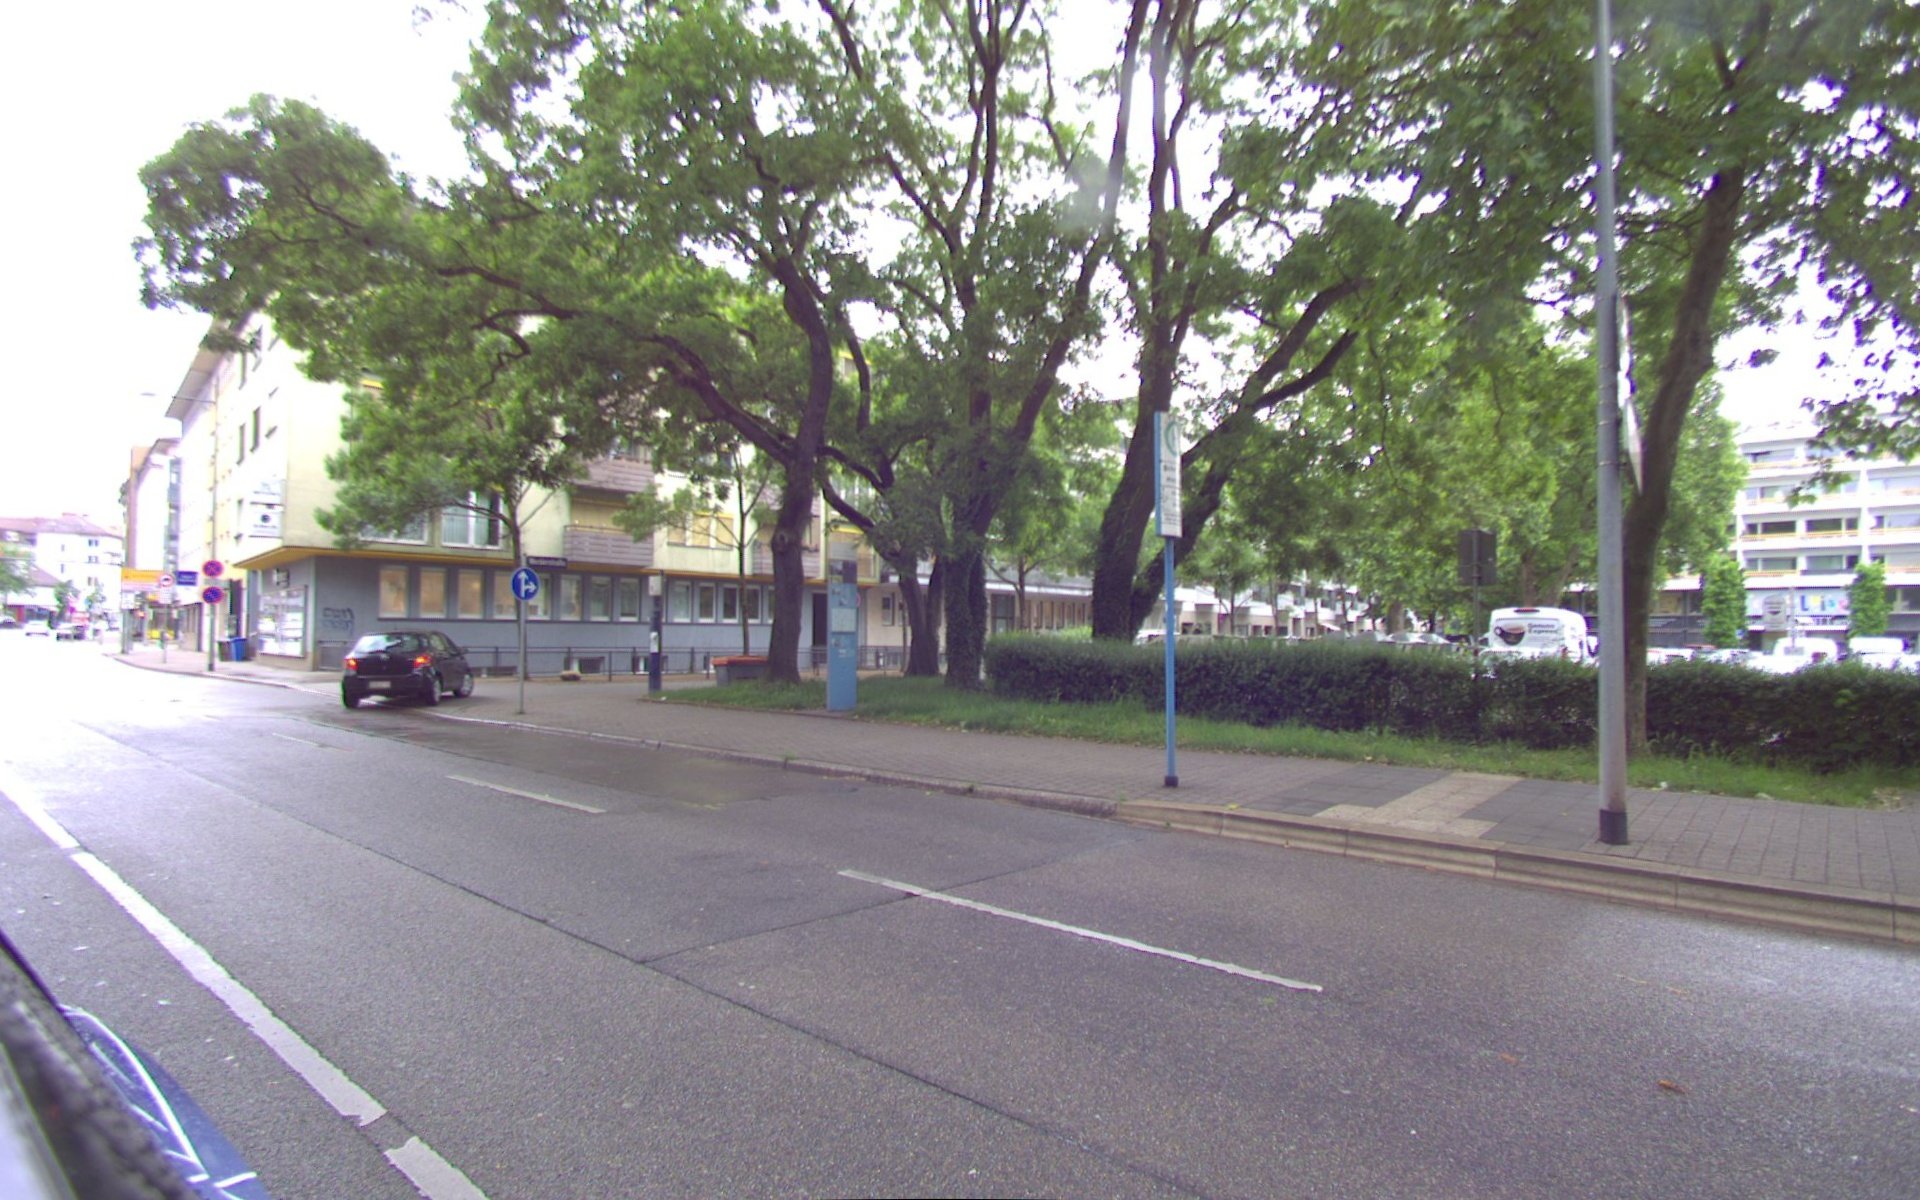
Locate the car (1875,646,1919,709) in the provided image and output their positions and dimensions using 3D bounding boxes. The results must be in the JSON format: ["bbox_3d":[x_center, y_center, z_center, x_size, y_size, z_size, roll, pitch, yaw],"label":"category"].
[{"bbox_3d":[23.426,1.878,24.799,1.391,1.446,3.227,-2,-4,41],"label":"car"}]

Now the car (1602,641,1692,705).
[{"bbox_3d":[16.743,1.744,24.614,1.391,1.446,3.227,-2,-4,41],"label":"car"}]

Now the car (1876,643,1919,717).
[{"bbox_3d":[19.939,1.634,20.937,1.391,1.446,3.227,-2,-4,41],"label":"car"}]

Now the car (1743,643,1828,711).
[{"bbox_3d":[19.247,1.760,23.557,1.391,1.446,3.227,-2,-4,41],"label":"car"}]

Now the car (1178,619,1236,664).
[{"bbox_3d":[11.715,1.960,47.847,1.988,2.029,3.967,0,-3,24],"label":"car"}]

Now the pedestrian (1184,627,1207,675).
[{"bbox_3d":[6.117,1.318,26.274,0.483,1.222,0.434,-1,0,29],"label":"pedestrian"}]

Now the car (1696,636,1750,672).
[{"bbox_3d":[35.730,2.482,47.356,1.837,1.435,3.780,-1,0,39],"label":"car"}]

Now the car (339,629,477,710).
[{"bbox_3d":[-11.263,1.400,20.891,1.546,1.500,3.576,2,-3,-13],"label":"car"}]

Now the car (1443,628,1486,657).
[{"bbox_3d":[27.242,2.289,54.634,1.428,1.439,2.926,-2,-1,40],"label":"car"}]

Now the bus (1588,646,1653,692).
[{"bbox_3d":[24.166,2.491,36.966,1.604,1.551,3.385,-1,-3,40],"label":"bus"}]

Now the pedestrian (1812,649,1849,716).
[{"bbox_3d":[16.463,1.552,19.143,0.465,1.222,0.433,-1,0,34],"label":"pedestrian"}]

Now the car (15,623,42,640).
[{"bbox_3d":[-96.714,3.300,105.029,4.002,1.670,1.842,-2,-4,45],"label":"car"}]

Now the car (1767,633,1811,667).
[{"bbox_3d":[41.995,2.499,51.294,1.639,1.536,3.161,-1,0,38],"label":"car"}]

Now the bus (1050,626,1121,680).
[{"bbox_3d":[4.847,2.018,38.678,1.703,1.939,3.697,0,-3,24],"label":"bus"}]

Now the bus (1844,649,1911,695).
[{"bbox_3d":[33.167,2.572,36.650,1.604,1.551,3.385,-1,-3,40],"label":"bus"}]

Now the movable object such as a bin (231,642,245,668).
[{"bbox_3d":[-29.870,2.278,41.887,0.409,1.037,0.354,3,-4,-42],"label":"movable object such as a bin"}]

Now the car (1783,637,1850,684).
[{"bbox_3d":[28.184,1.962,33.345,1.604,1.439,3.275,-1,-3,40],"label":"car"}]

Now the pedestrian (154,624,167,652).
[{"bbox_3d":[-54.179,2.584,68.568,0.586,1.858,0.565,3,-4,-42],"label":"pedestrian"}]

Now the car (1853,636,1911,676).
[{"bbox_3d":[40.332,2.422,44.321,1.639,1.536,3.161,-1,0,38],"label":"car"}]

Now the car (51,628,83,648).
[{"bbox_3d":[-82.208,3.495,93.157,4.002,1.730,1.863,-2,-4,45],"label":"car"}]

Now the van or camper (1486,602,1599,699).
[{"bbox_3d":[16.856,1.445,29.204,2.097,2.556,4.367,-1,-3,40],"label":"van or camper"}]

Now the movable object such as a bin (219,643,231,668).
[{"bbox_3d":[-30.360,2.286,41.814,0.333,1.037,0.354,3,-4,-42],"label":"movable object such as a bin"}]
